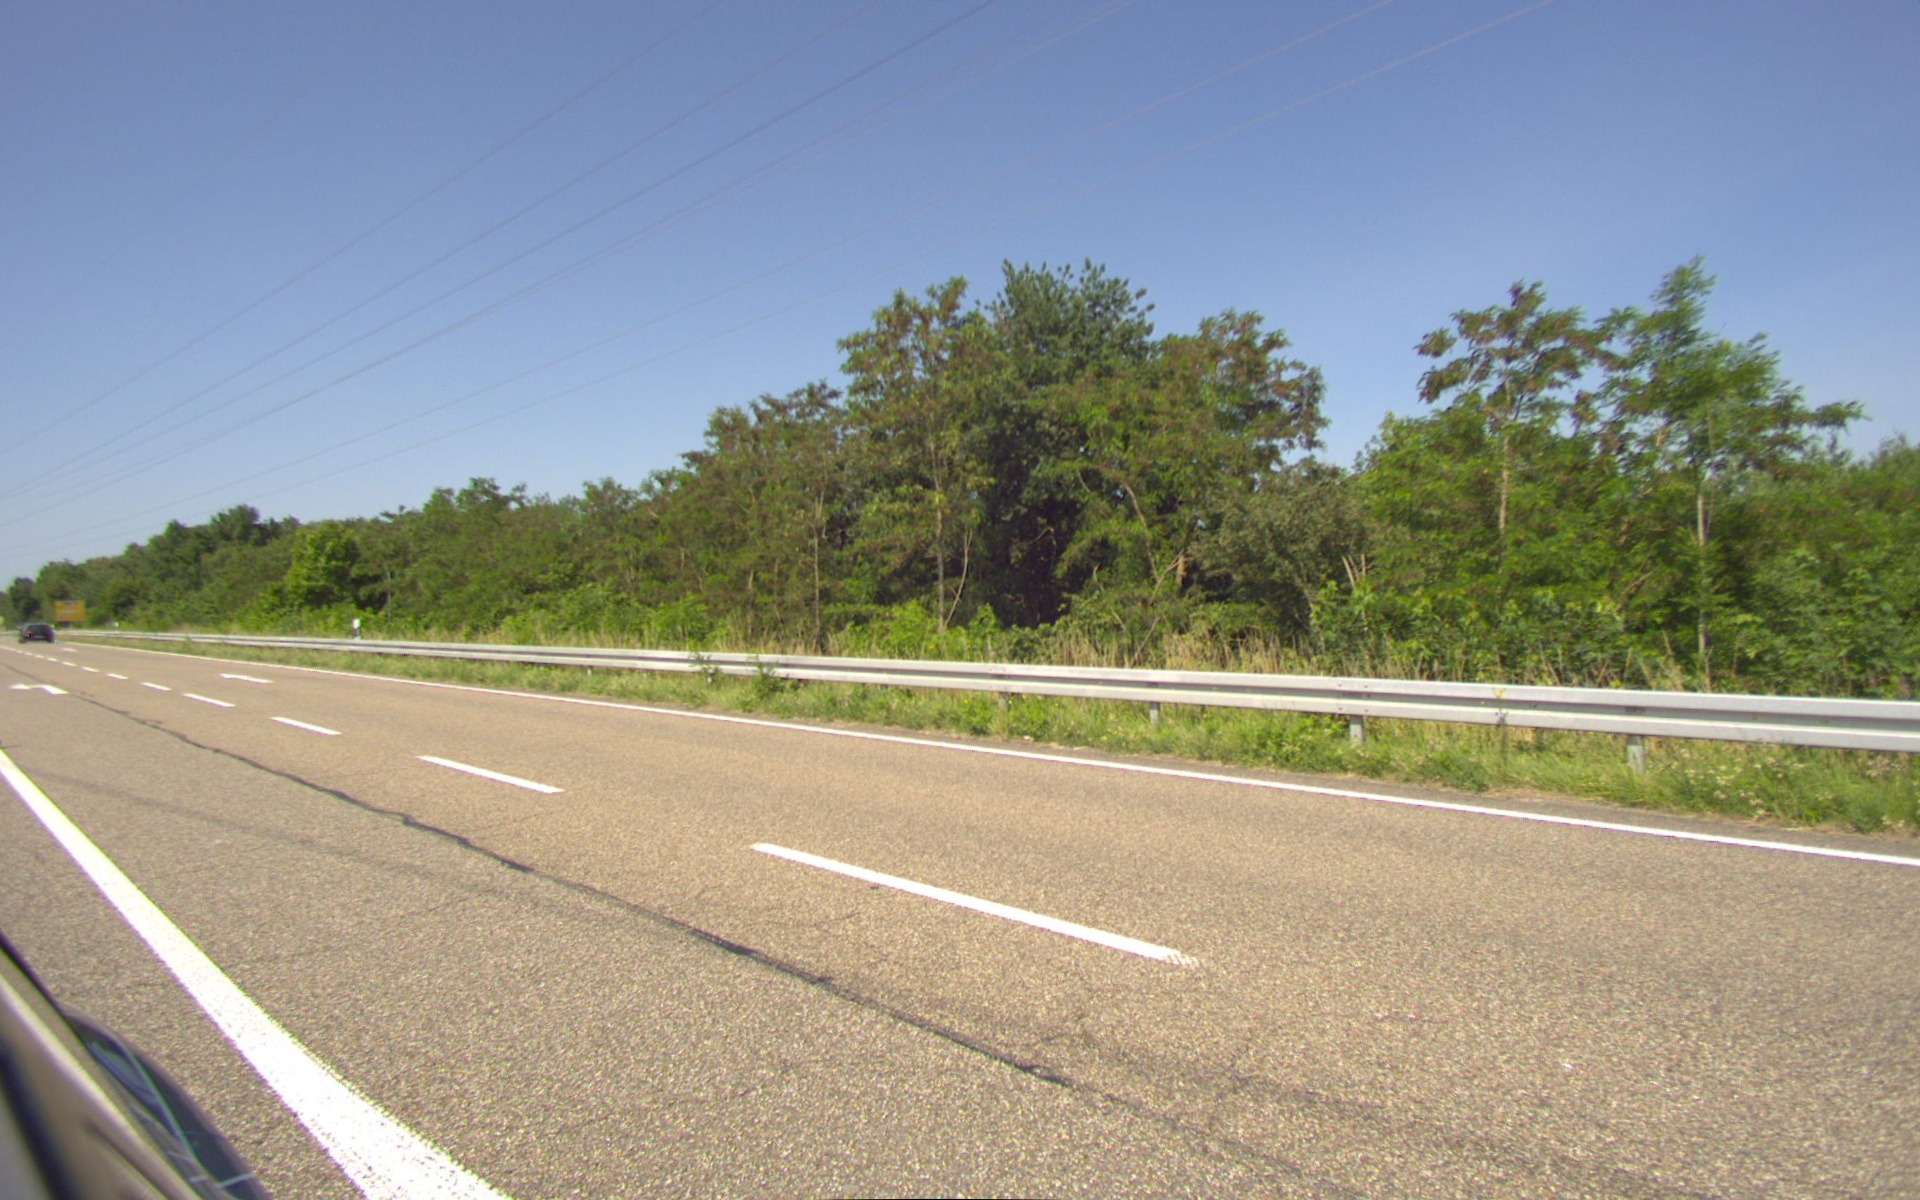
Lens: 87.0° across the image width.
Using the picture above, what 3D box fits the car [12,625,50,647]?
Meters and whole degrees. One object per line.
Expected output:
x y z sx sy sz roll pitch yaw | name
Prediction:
-65.885 2.562 71.773 4.214 1.453 1.641 -2 -1 43 | car
